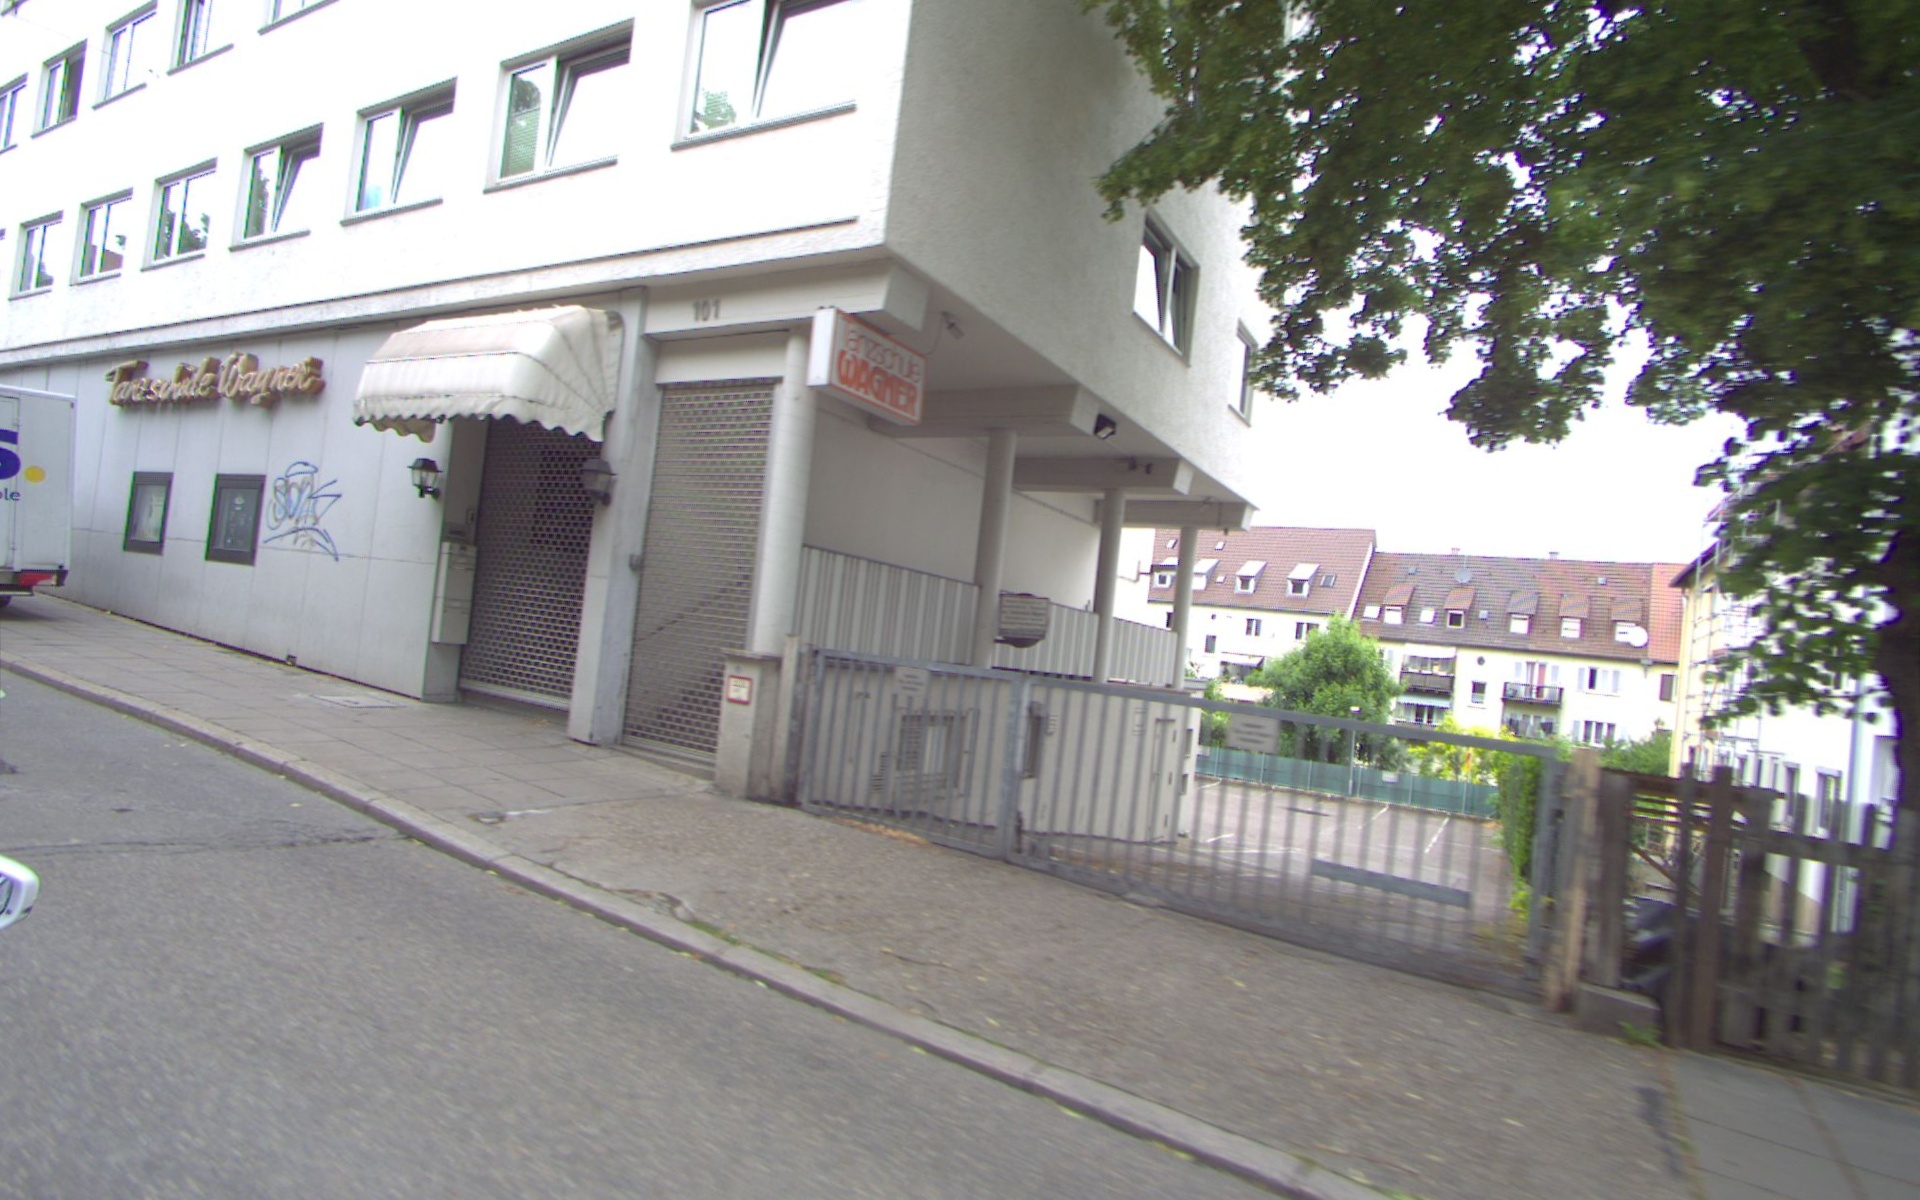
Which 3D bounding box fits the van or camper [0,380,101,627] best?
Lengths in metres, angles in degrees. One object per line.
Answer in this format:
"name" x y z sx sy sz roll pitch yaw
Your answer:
"van or camper" -14.441 -1.507 13.352 7.119 2.837 2.482 7 0 32
